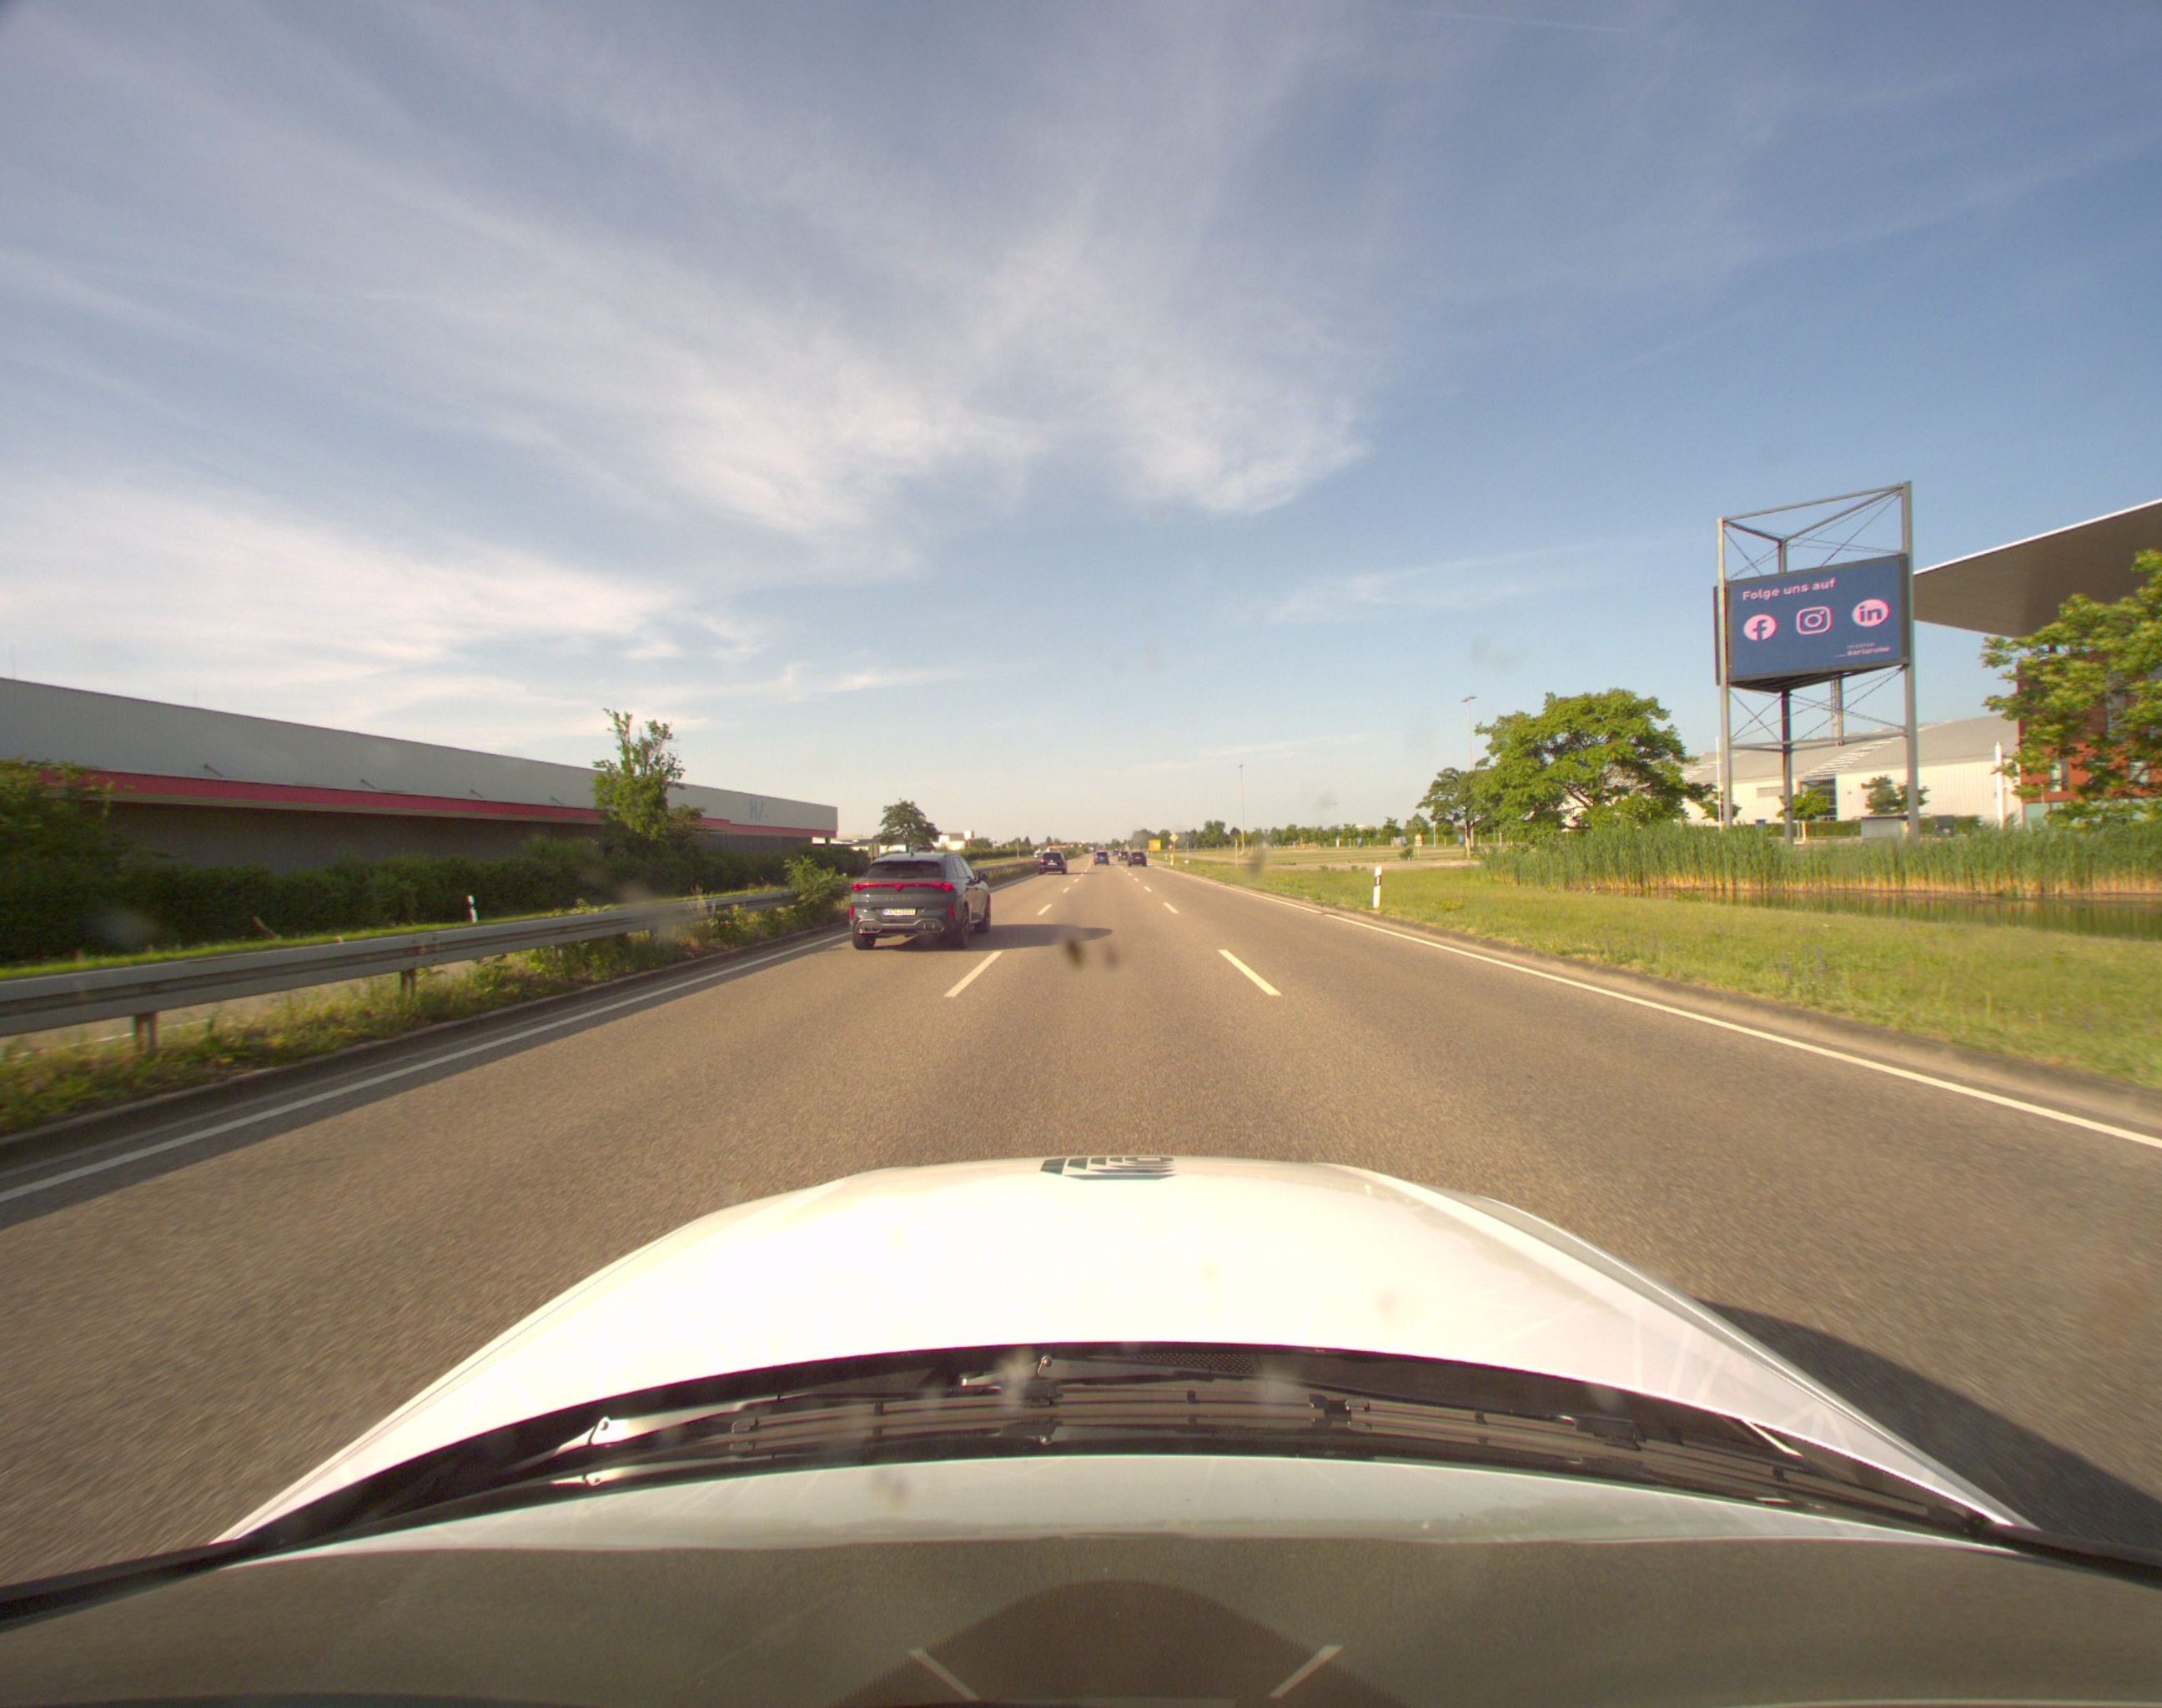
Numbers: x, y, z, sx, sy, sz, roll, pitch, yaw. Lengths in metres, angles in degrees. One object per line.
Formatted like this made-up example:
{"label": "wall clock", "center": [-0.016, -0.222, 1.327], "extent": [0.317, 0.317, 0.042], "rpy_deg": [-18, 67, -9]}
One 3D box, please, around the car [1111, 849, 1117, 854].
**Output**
{"label": "car", "center": [8.430, -0.569, 205.539], "extent": [1.497, 1.313, 3.157], "rpy_deg": [1, 0, 2]}

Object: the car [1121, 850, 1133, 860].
{"label": "car", "center": [7.395, 0.126, 131.329], "extent": [1.866, 1.463, 3.982], "rpy_deg": [1, 0, 2]}

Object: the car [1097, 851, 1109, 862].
{"label": "car", "center": [3.315, 0.364, 122.345], "extent": [1.641, 1.463, 3.982], "rpy_deg": [1, 0, 2]}

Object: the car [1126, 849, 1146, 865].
{"label": "car", "center": [5.977, 0.278, 88.748], "extent": [1.925, 1.680, 4.403], "rpy_deg": [1, 0, 2]}

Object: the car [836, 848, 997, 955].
{"label": "car", "center": [-2.731, 0.708, 14.577], "extent": [1.839, 1.611, 4.403], "rpy_deg": [1, 0, 2]}

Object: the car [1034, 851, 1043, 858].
{"label": "car", "center": [-9.827, 0.064, 187.554], "extent": [1.772, 1.424, 4.002], "rpy_deg": [-2, 0, 2]}

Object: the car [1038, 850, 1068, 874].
{"label": "car", "center": [-2.052, 0.573, 60.256], "extent": [1.925, 1.680, 4.403], "rpy_deg": [1, 0, 2]}

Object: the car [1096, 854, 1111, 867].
{"label": "car", "center": [2.840, 0.767, 100.692], "extent": [1.806, 1.463, 4.403], "rpy_deg": [1, 0, 2]}
